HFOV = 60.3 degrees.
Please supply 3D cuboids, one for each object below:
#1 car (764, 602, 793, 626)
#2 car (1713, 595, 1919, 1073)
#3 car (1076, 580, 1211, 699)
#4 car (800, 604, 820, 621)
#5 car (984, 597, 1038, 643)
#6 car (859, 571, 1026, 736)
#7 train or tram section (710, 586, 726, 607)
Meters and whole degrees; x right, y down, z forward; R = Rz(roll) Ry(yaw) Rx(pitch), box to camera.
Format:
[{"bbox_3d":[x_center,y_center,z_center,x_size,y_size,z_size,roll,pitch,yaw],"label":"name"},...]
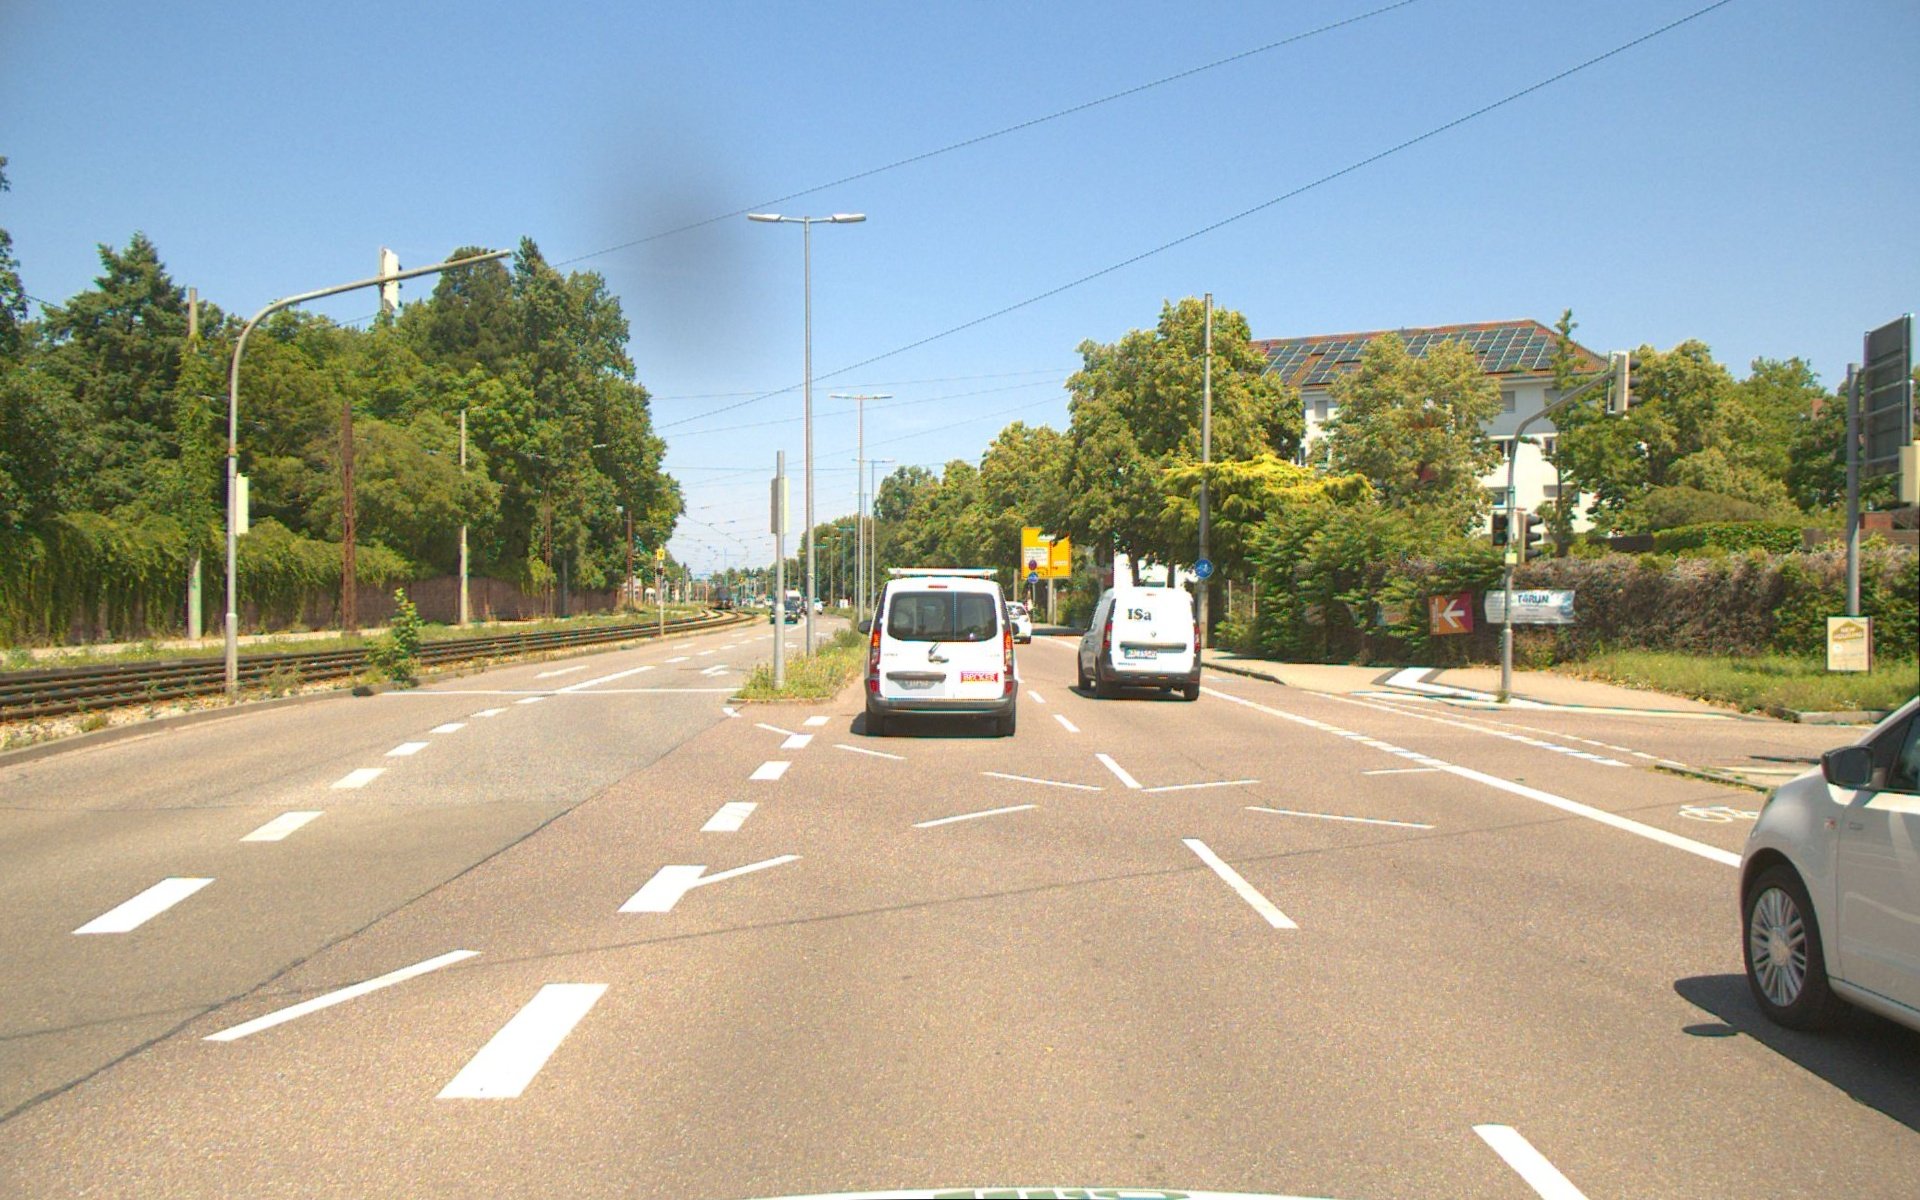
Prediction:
[{"bbox_3d":[-12.069,0.947,110.286,1.663,1.539,4.064,0,0,-2],"label":"car"},{"bbox_3d":[3.775,0.754,4.795,1.577,1.473,3.435,2,0,0],"label":"car"},{"bbox_3d":[3.037,0.633,28.149,1.693,1.819,4.063,2,0,-2],"label":"car"},{"bbox_3d":[-16.533,1.418,182.998,1.953,1.847,3.999,0,0,-2],"label":"car"},{"bbox_3d":[1.887,0.711,62.214,1.798,1.596,3.999,2,0,-1],"label":"car"},{"bbox_3d":[-0.218,0.580,20.314,1.784,1.770,4.395,1,0,-1],"label":"car"},{"bbox_3d":[-38.448,-0.462,262.052,1.957,3.140,16.127,2,0,-10],"label":"train or tram section"}]
